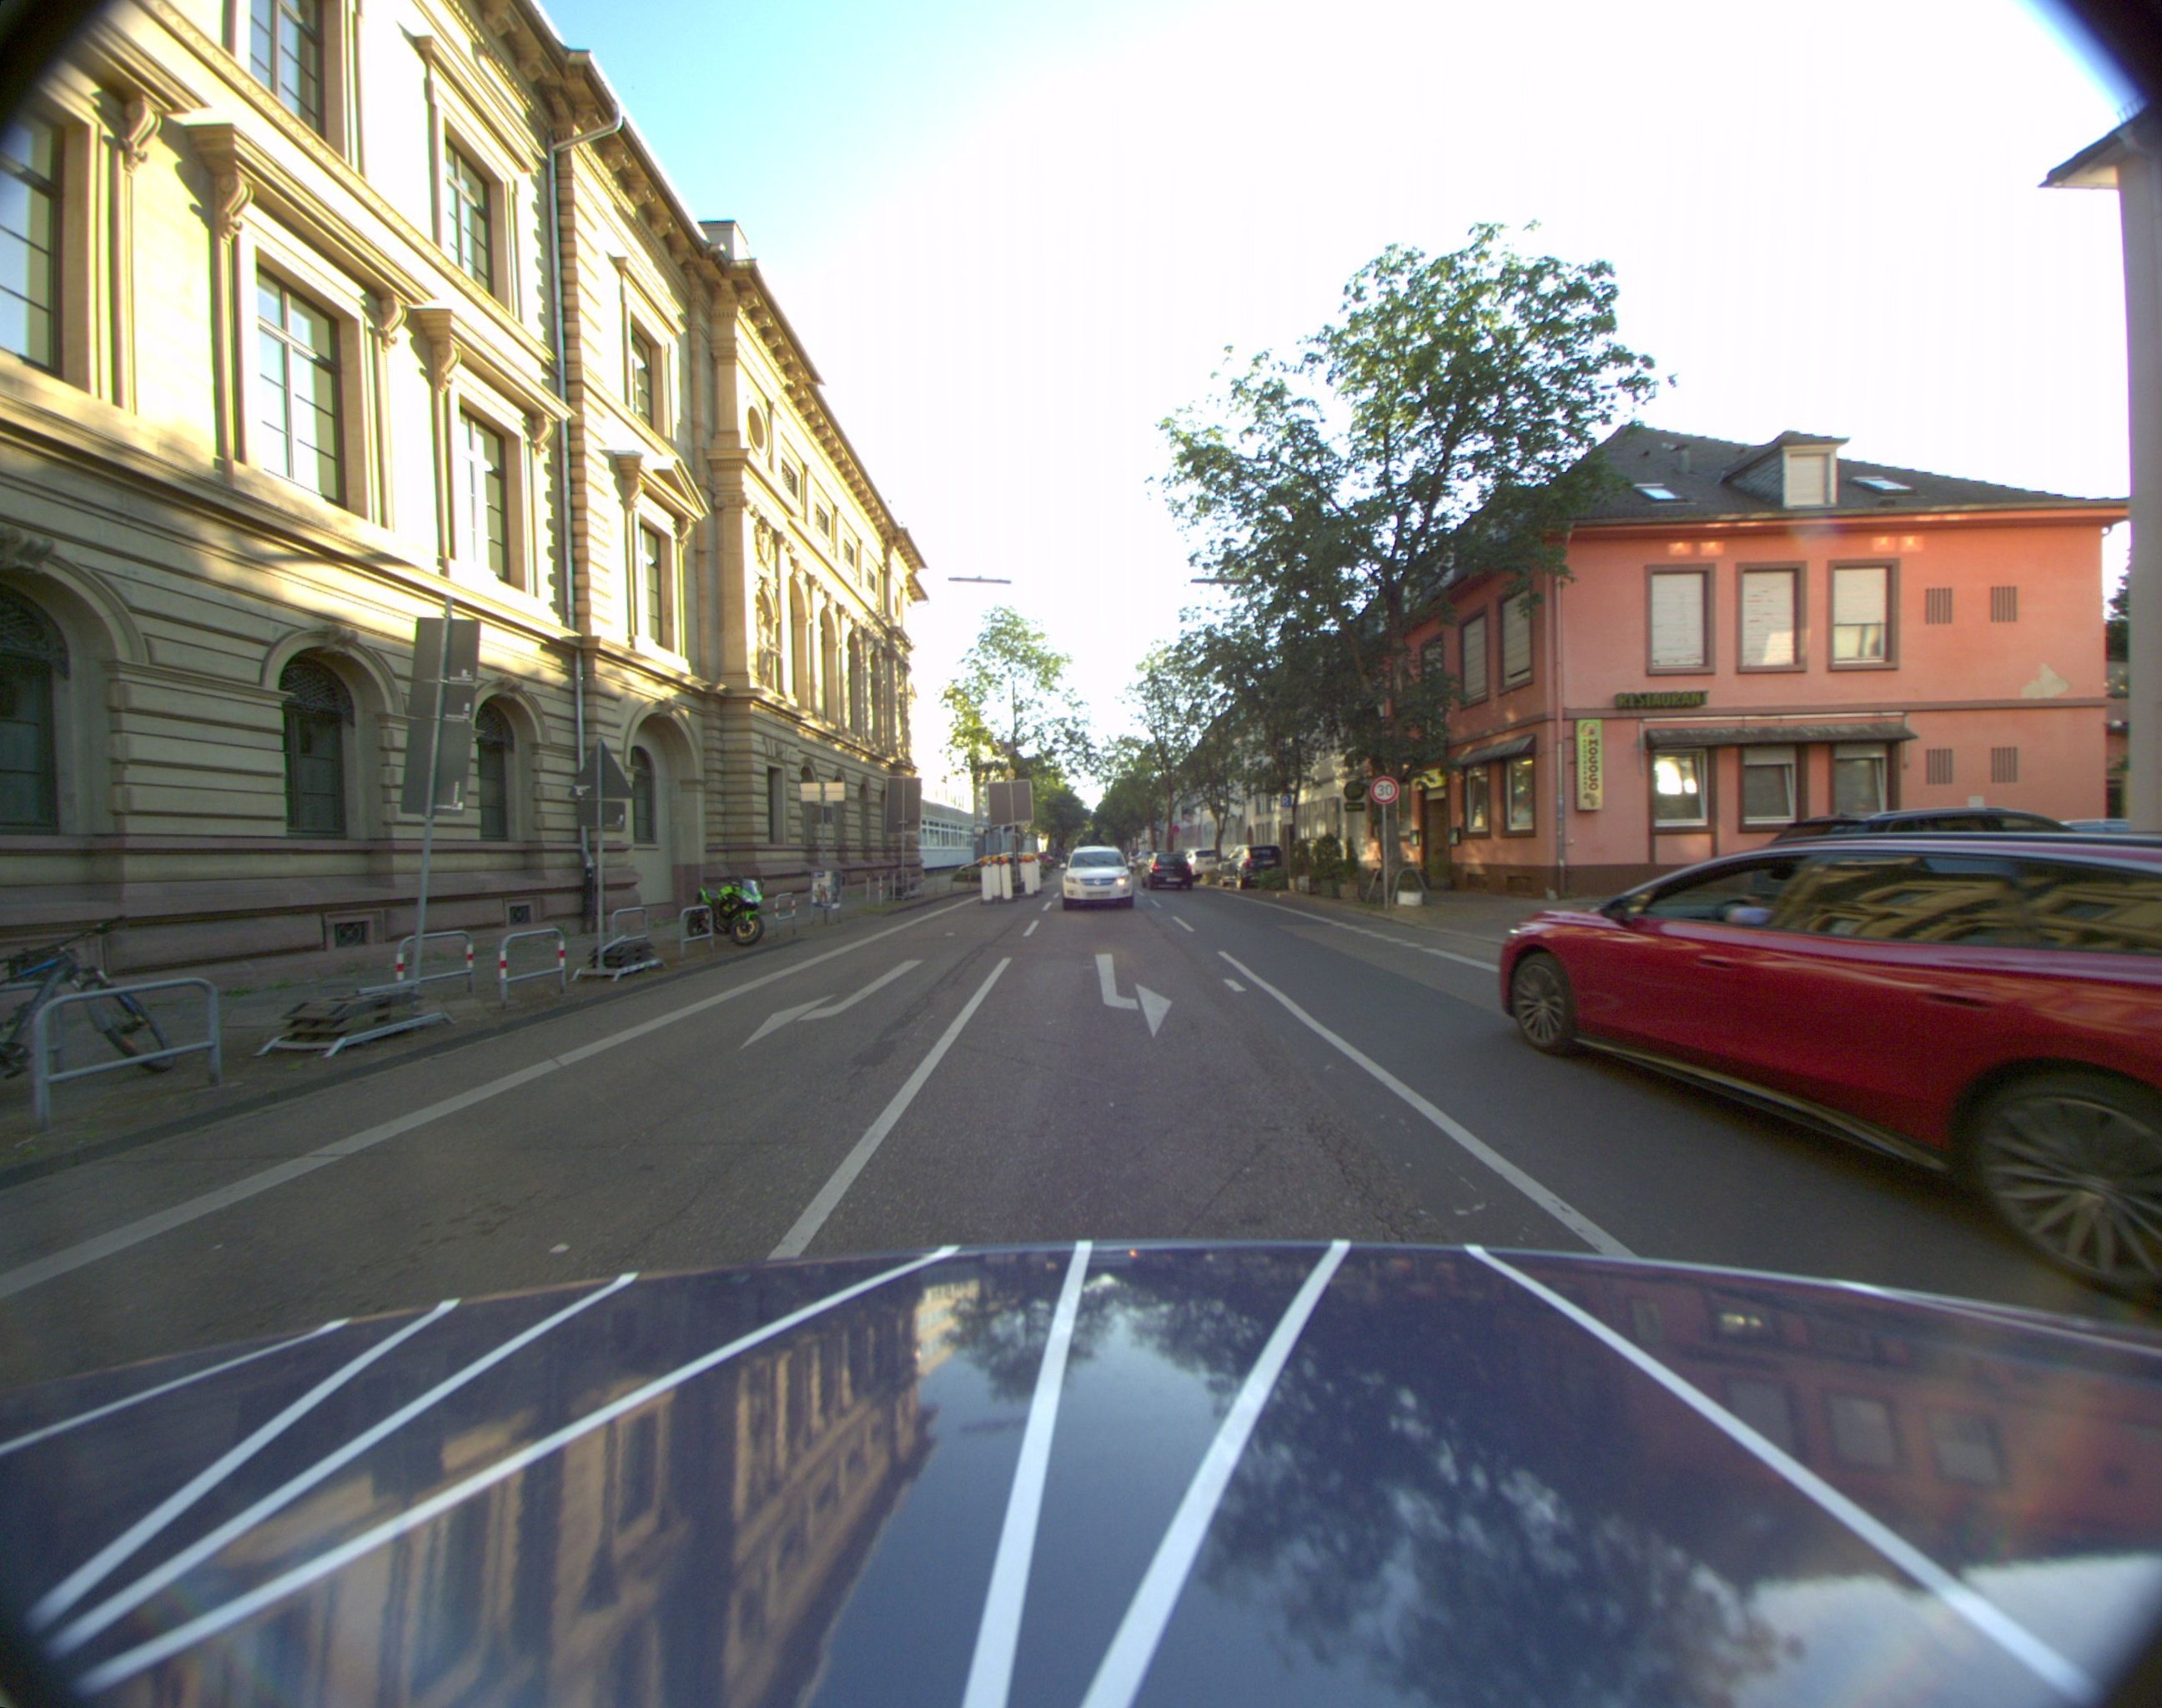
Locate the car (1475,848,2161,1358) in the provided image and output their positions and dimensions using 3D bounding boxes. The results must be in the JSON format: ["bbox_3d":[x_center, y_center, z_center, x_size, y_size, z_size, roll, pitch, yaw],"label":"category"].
[{"bbox_3d":[4.131,0.745,3.666,1.835,1.536,4.846,0,0,-2],"label":"car"}]

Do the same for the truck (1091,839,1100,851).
[{"bbox_3d":[4.705,-2.911,243.514,2.748,3.723,7.854,-1,1,2],"label":"truck"}]

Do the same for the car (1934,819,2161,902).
[{"bbox_3d":[20.454,0.096,15.607,3.809,1.547,1.886,-2,1,-2],"label":"car"}]

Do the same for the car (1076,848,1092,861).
[{"bbox_3d":[0.319,0.051,95.781,1.951,1.546,3.999,-1,0,-1],"label":"car"}]

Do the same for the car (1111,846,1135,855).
[{"bbox_3d":[7.507,-0.661,135.993,4.230,1.468,1.969,-1,1,-2],"label":"car"}]

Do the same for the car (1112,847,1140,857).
[{"bbox_3d":[7.216,-0.384,122.002,4.230,1.468,1.969,-1,1,-2],"label":"car"}]

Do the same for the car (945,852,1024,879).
[{"bbox_3d":[-5.478,0.640,43.761,4.369,1.456,1.833,1,1,-3],"label":"car"}]

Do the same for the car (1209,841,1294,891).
[{"bbox_3d":[6.973,0.434,31.666,1.833,1.749,5.045,-5,1,-5],"label":"car"}]

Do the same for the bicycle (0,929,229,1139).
[{"bbox_3d":[-6.913,1.146,4.812,0.829,1.128,1.944,1,1,1],"label":"bicycle"}]

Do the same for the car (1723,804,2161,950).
[{"bbox_3d":[12.113,0.289,10.766,4.429,1.655,1.863,-3,1,-1],"label":"car"}]

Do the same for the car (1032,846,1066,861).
[{"bbox_3d":[-4.145,-0.066,98.323,4.368,1.863,1.733,0,1,-2],"label":"car"}]

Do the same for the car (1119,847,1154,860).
[{"bbox_3d":[7.195,-0.090,98.725,4.230,1.509,1.759,-1,1,-2],"label":"car"}]

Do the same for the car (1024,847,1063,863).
[{"bbox_3d":[-4.283,0.107,86.687,4.369,1.768,1.733,1,1,-2],"label":"car"}]

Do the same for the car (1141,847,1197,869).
[{"bbox_3d":[6.788,0.306,58.936,4.228,1.536,1.801,-1,1,3],"label":"car"}]

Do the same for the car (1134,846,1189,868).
[{"bbox_3d":[6.494,0.228,61.672,4.230,1.680,1.800,-1,1,-2],"label":"car"}]

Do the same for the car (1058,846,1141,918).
[{"bbox_3d":[0.476,0.647,20.453,1.957,1.667,4.542,-1,1,1],"label":"car"}]

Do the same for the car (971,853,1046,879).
[{"bbox_3d":[-4.389,0.722,46.382,4.368,1.487,1.672,1,1,0],"label":"car"}]

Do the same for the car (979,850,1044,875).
[{"bbox_3d":[-4.811,0.555,52.849,4.369,1.633,2.054,1,1,-2],"label":"car"}]

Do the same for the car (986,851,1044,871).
[{"bbox_3d":[-5.080,0.529,58.765,4.369,1.485,1.886,0,1,-2],"label":"car"}]

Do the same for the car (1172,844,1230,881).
[{"bbox_3d":[6.264,0.418,40.198,1.833,1.659,4.653,-5,1,-5],"label":"car"}]

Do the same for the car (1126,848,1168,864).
[{"bbox_3d":[6.921,0.197,79.854,4.230,1.499,1.800,-1,1,-2],"label":"car"}]

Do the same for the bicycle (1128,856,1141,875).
[{"bbox_3d":[3.722,0.787,52.824,0.626,1.149,2.051,-2,2,-3],"label":"bicycle"}]

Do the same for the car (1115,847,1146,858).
[{"bbox_3d":[7.093,-0.217,109.532,4.230,1.468,1.853,-1,1,-2],"label":"car"}]

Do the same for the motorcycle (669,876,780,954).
[{"bbox_3d":[-6.323,1.039,13.451,2.098,1.208,0.711,1,1,30],"label":"motorcycle"}]

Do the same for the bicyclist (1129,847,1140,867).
[{"bbox_3d":[3.699,0.212,52.916,0.627,1.357,0.928,-2,2,-3],"label":"bicyclist"}]

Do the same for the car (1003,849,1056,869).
[{"bbox_3d":[-4.293,0.398,63.768,4.369,1.615,1.733,1,1,-2],"label":"car"}]

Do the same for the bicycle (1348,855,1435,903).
[{"bbox_3d":[7.604,0.603,18.632,1.872,1.098,0.610,-2,1,-6],"label":"bicycle"}]

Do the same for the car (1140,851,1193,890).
[{"bbox_3d":[3.472,0.647,31.272,1.662,1.463,3.853,-1,0,-1],"label":"car"}]
